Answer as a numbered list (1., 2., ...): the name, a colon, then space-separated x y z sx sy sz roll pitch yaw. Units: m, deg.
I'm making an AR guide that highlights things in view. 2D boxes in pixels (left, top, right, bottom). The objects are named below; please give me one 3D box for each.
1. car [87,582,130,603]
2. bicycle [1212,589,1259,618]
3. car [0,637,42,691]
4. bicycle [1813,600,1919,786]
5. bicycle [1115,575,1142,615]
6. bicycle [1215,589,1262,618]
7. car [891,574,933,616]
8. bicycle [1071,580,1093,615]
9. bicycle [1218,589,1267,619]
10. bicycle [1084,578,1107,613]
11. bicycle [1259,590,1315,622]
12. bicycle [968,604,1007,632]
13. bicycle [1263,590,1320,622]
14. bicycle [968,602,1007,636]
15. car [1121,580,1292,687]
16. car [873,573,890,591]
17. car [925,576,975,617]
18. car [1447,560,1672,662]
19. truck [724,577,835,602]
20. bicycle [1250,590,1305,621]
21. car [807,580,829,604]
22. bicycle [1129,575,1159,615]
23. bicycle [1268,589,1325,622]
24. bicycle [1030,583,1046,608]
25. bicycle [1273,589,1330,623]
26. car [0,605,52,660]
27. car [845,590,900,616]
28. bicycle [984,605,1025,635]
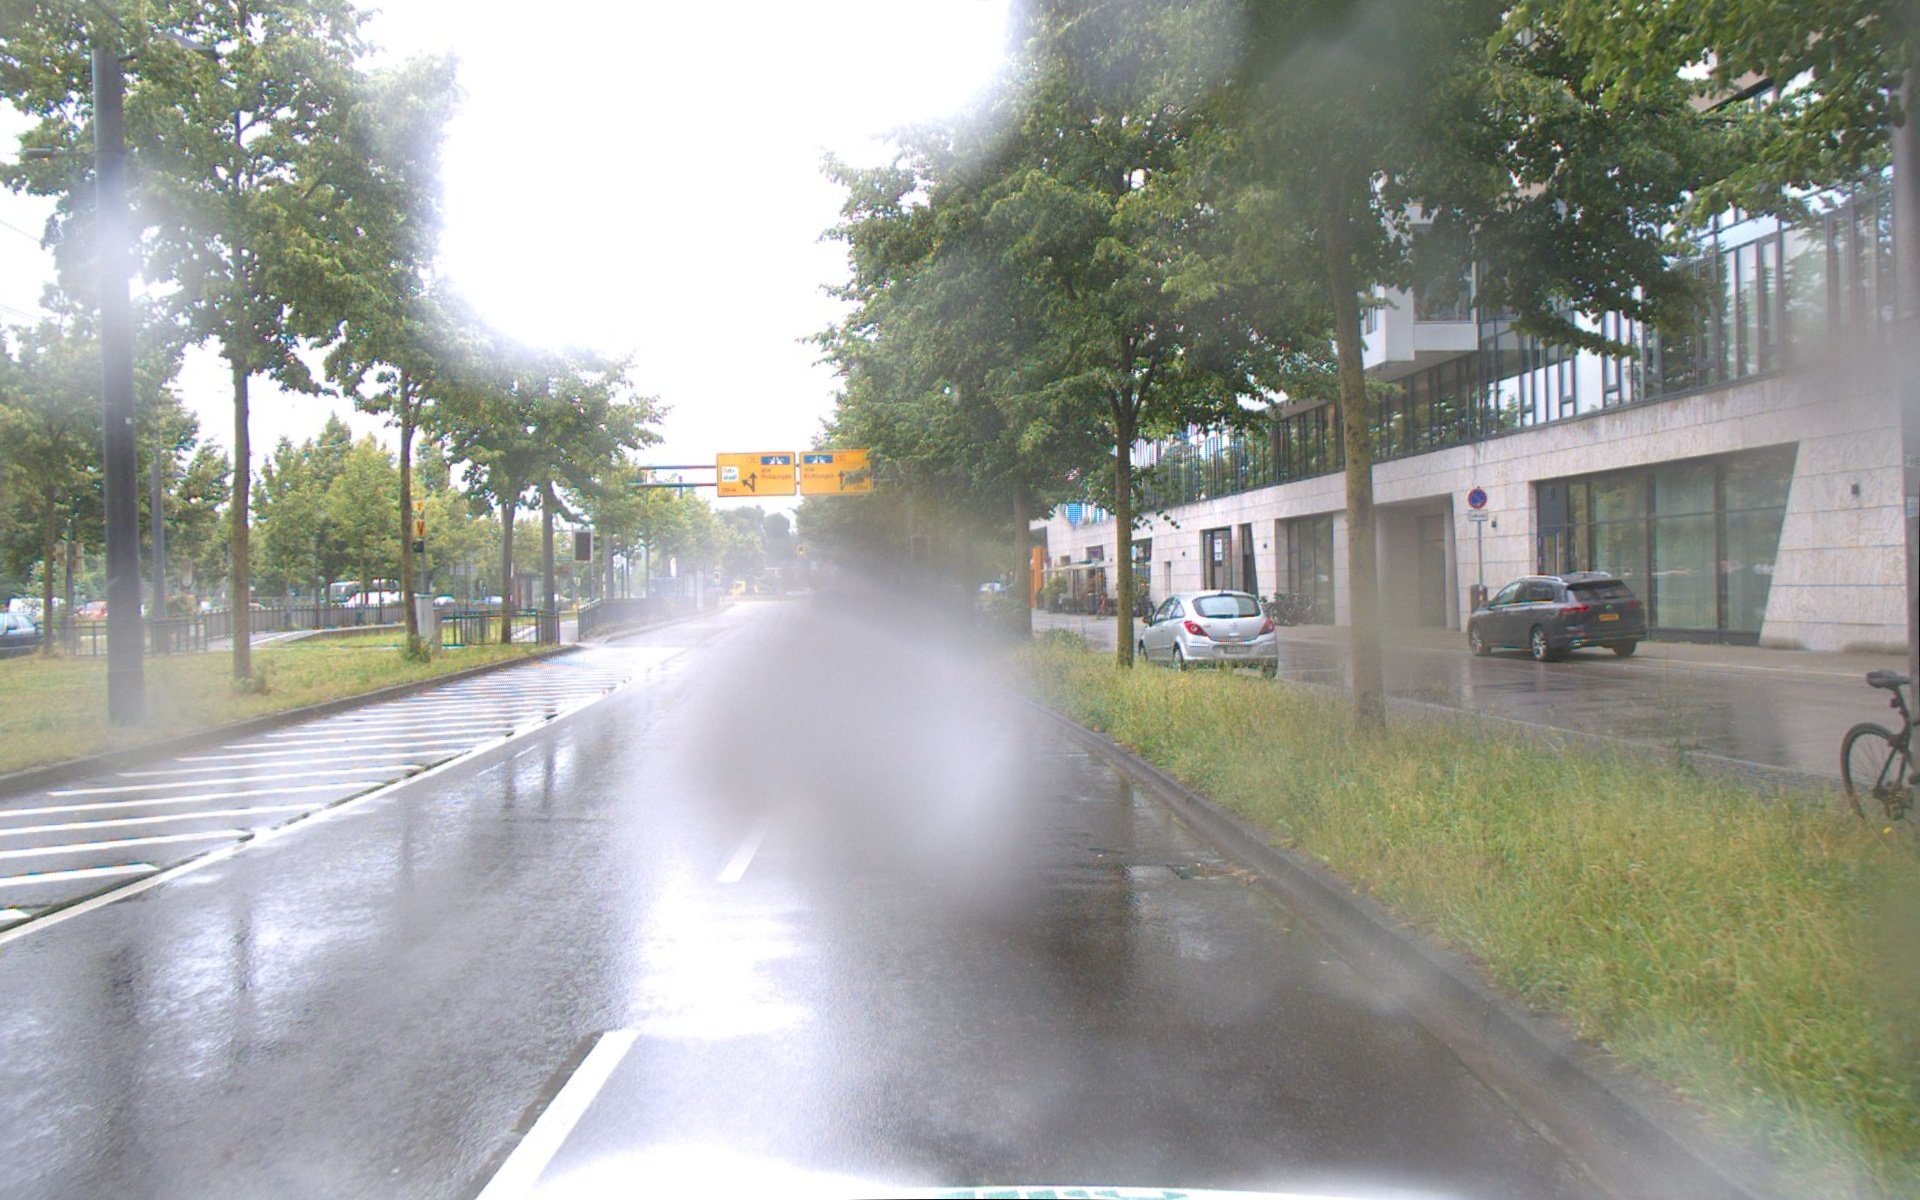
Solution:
1. car: -78.783 -0.715 153.046 3.494 1.768 1.689 -2 3 -30
2. bicycle: 10.224 0.138 61.489 1.660 1.046 0.422 -1 0 -4
3. car: -25.329 1.674 42.821 1.463 1.320 4.958 -2 0 -14
4. bicycle: 4.745 0.467 7.848 0.335 0.836 1.902 -1 3 -3
5. bicycle: 7.999 -0.250 78.647 0.632 1.752 3.117 -1 3 -6
6. bicycle: 10.263 0.133 60.961 1.660 1.046 0.422 -1 0 -4
7. car: -2.814 -0.295 95.712 2.080 2.313 4.559 -1 0 -6
8. bicycle: 6.532 -0.134 88.736 0.632 1.752 3.117 -1 3 -6
9. bicycle: 10.344 0.142 60.510 1.715 1.046 0.412 -1 0 -4
10. bicycle: 7.253 -0.246 88.898 0.632 1.752 3.117 -1 3 -6
11. bicycle: 11.105 0.194 56.155 1.771 1.046 0.540 -1 0 -4
12. bicycle: 0.896 0.593 53.813 1.262 0.864 0.275 -1 0 -2
13. bicycle: 11.128 0.198 55.549 1.771 1.046 0.540 -1 0 -4
14. bicycle: 0.910 0.622 54.697 1.261 1.093 0.275 -1 0 2
15. car: 4.180 0.503 28.843 1.845 1.532 4.719 -1 3 -6
16. car: -9.465 -2.198 199.330 1.954 2.048 3.997 -1 3 -5
17. car: -0.494 -0.178 77.213 1.869 1.822 4.682 -1 0 -6
18. car: 10.925 0.123 30.606 1.955 1.526 5.030 -6 2 -4
19. truck: -24.338 -1.424 223.059 14.600 3.202 3.512 0 0 -13
20. bicycle: 11.051 0.192 57.558 1.771 1.046 0.540 -1 0 -4
21. car: -12.970 -0.750 150.601 1.903 2.048 3.996 -1 3 -5
22. bicycle: 8.749 -0.272 78.859 0.757 1.752 3.117 -1 3 -6
23. bicycle: 11.169 0.183 54.941 1.771 1.046 0.540 -1 0 -4
24. bicycle: 5.254 -0.295 111.179 0.653 1.561 2.761 -1 3 -6
25. bicycle: 11.210 0.195 54.242 1.771 1.046 0.401 -1 0 -4
26. car: -25.326 0.872 42.811 1.520 1.288 4.844 -1 2 -8
27. car: -5.943 0.163 112.197 1.803 1.571 3.946 -3 3 -38
28. bicycle: 1.407 0.622 51.941 1.261 0.889 0.301 -1 0 4
